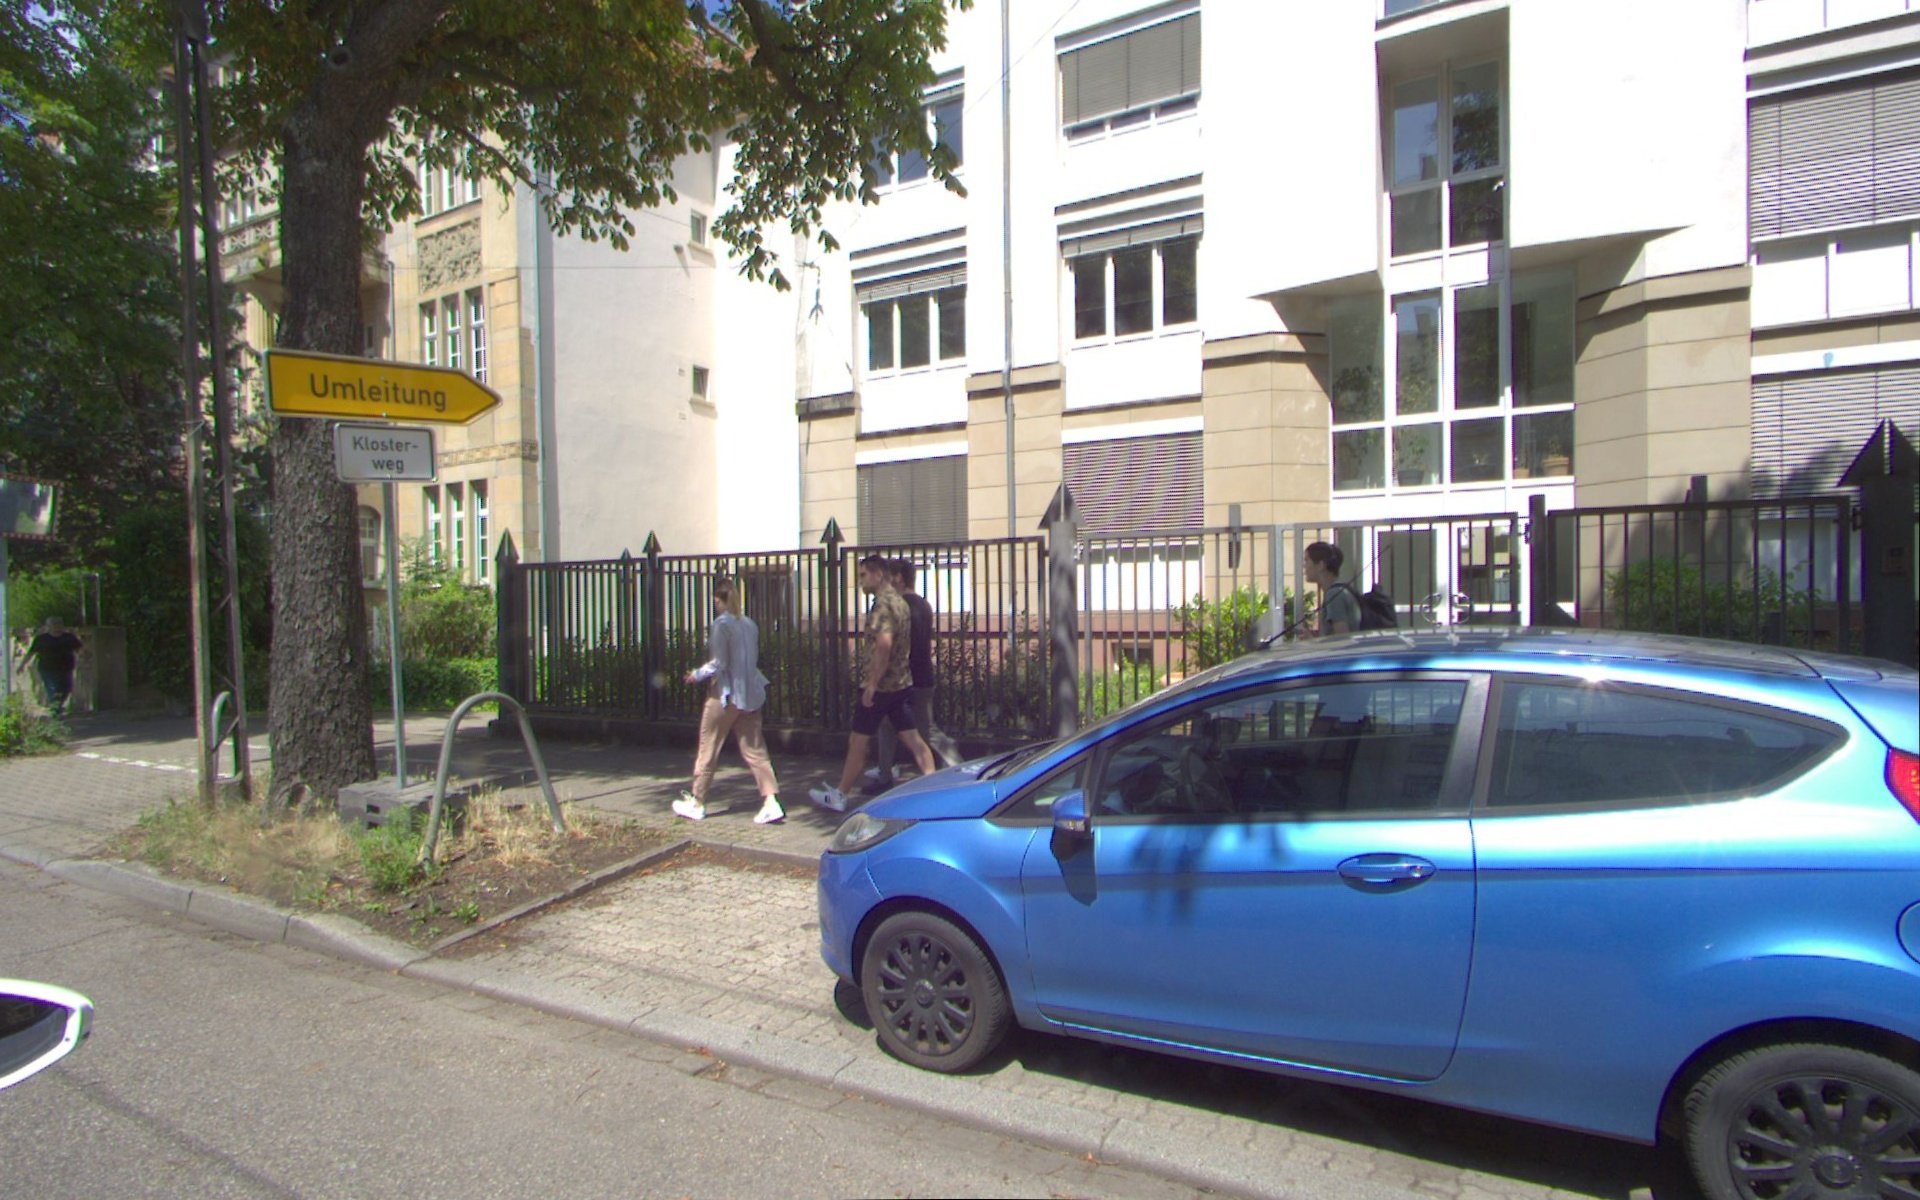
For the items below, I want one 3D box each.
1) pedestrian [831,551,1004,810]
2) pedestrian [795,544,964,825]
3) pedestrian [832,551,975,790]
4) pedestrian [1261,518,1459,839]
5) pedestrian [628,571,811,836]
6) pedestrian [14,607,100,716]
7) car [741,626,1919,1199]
[{"bbox_3d":[-0.308,0.563,7.500,1.036,1.785,0.787,0,0,28],"label":"pedestrian"},{"bbox_3d":[-0.551,0.549,6.942,0.932,1.800,0.704,0,0,27],"label":"pedestrian"},{"bbox_3d":[-0.456,0.547,8.198,0.962,1.835,0.660,0,0,29],"label":"pedestrian"},{"bbox_3d":[2.493,0.454,6.232,1.067,1.821,0.683,0,0,29],"label":"pedestrian"},{"bbox_3d":[-1.645,0.661,6.883,0.959,1.673,0.765,0,0,31],"label":"pedestrian"},{"bbox_3d":[-14.335,0.951,15.901,0.826,1.667,0.854,-1,0,36],"label":"pedestrian"},{"bbox_3d":[1.192,0.841,3.585,3.663,1.462,1.676,-1,0,28],"label":"car"}]
